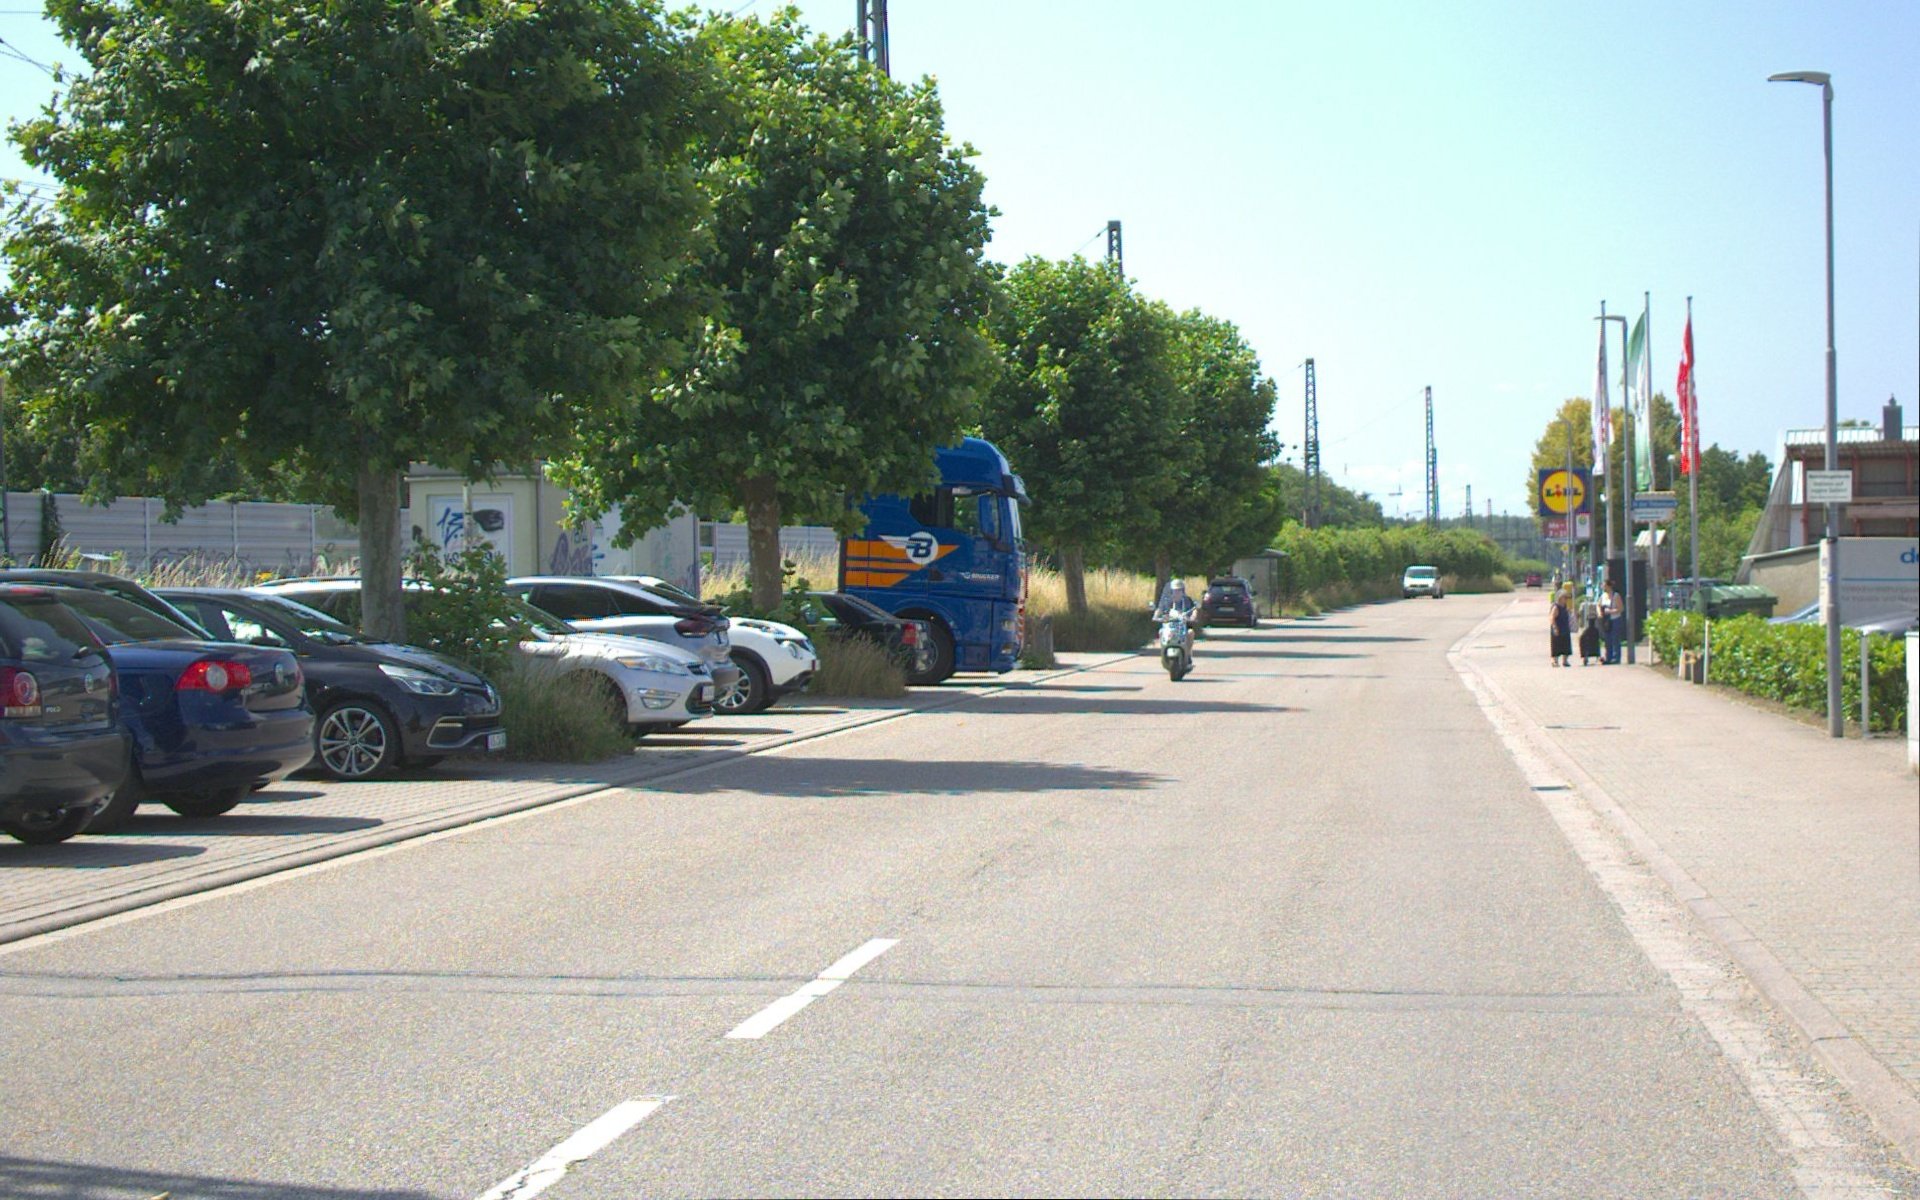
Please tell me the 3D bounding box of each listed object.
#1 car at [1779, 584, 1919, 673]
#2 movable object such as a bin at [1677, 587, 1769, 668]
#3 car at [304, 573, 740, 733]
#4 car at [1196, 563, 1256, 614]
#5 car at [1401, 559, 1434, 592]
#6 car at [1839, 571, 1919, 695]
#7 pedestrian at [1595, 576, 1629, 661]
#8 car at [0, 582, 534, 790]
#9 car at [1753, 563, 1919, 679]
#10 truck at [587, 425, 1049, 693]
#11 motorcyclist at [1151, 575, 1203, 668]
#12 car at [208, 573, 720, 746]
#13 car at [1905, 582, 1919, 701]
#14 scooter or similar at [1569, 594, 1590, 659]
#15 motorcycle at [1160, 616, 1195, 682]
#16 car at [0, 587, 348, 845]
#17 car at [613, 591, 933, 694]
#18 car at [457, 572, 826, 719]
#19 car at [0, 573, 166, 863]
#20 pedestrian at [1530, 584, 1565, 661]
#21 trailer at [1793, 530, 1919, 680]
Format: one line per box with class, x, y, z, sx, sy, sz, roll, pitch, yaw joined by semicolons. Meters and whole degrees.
car;15.699;0.461;57.301;3.846;1.450;1.817;0;0;9
movable object such as a bin;13.980;0.493;62.992;1.263;1.453;1.049;0;1;-30
car;-4.354;0.522;34.542;3.988;1.542;2.000;0;0;6
car;8.553;-0.393;110.259;1.742;1.590;3.578;0;1;7
car;26.334;-1.393;197.905;1.839;1.852;4.482;0;0;8
car;13.702;0.396;44.827;4.034;1.569;1.714;-2;-2;2
pedestrian;12.021;0.348;63.359;0.535;1.535;0.510;-2;-2;7
car;-5.472;0.642;26.201;4.074;1.467;1.786;-1;0;8
car;13.978;0.297;50.736;4.213;1.628;1.800;-2;-2;7
truck;-2.098;-0.599;52.277;6.615;3.810;2.663;-1;0;6
motorcyclist;3.557;0.341;56.197;0.776;1.504;0.921;0;0;8
car;-4.551;0.524;31.873;4.339;1.527;1.926;0;1;7
car;13.801;0.492;41.271;4.475;1.435;1.815;0;0;4
scooter or similar;11.453;0.491;63.591;0.334;1.194;0.397;-2;-2;8
motorcycle;3.555;0.786;56.069;0.463;1.047;1.955;0;0;7
car;-5.884;0.677;20.653;3.947;1.445;1.786;-1;0;12
car;-2.573;0.583;47.971;4.209;1.390;1.871;0;0;6
car;-3.635;0.512;39.717;3.970;1.612;1.851;-1;0;4
car;-6.291;0.570;18.292;3.666;1.443;1.684;1;1;6
pedestrian;10.868;0.423;63.602;0.565;1.400;0.584;-2;-2;7
trailer;13.721;0.031;47.651;3.988;2.007;1.999;-1;0;7
